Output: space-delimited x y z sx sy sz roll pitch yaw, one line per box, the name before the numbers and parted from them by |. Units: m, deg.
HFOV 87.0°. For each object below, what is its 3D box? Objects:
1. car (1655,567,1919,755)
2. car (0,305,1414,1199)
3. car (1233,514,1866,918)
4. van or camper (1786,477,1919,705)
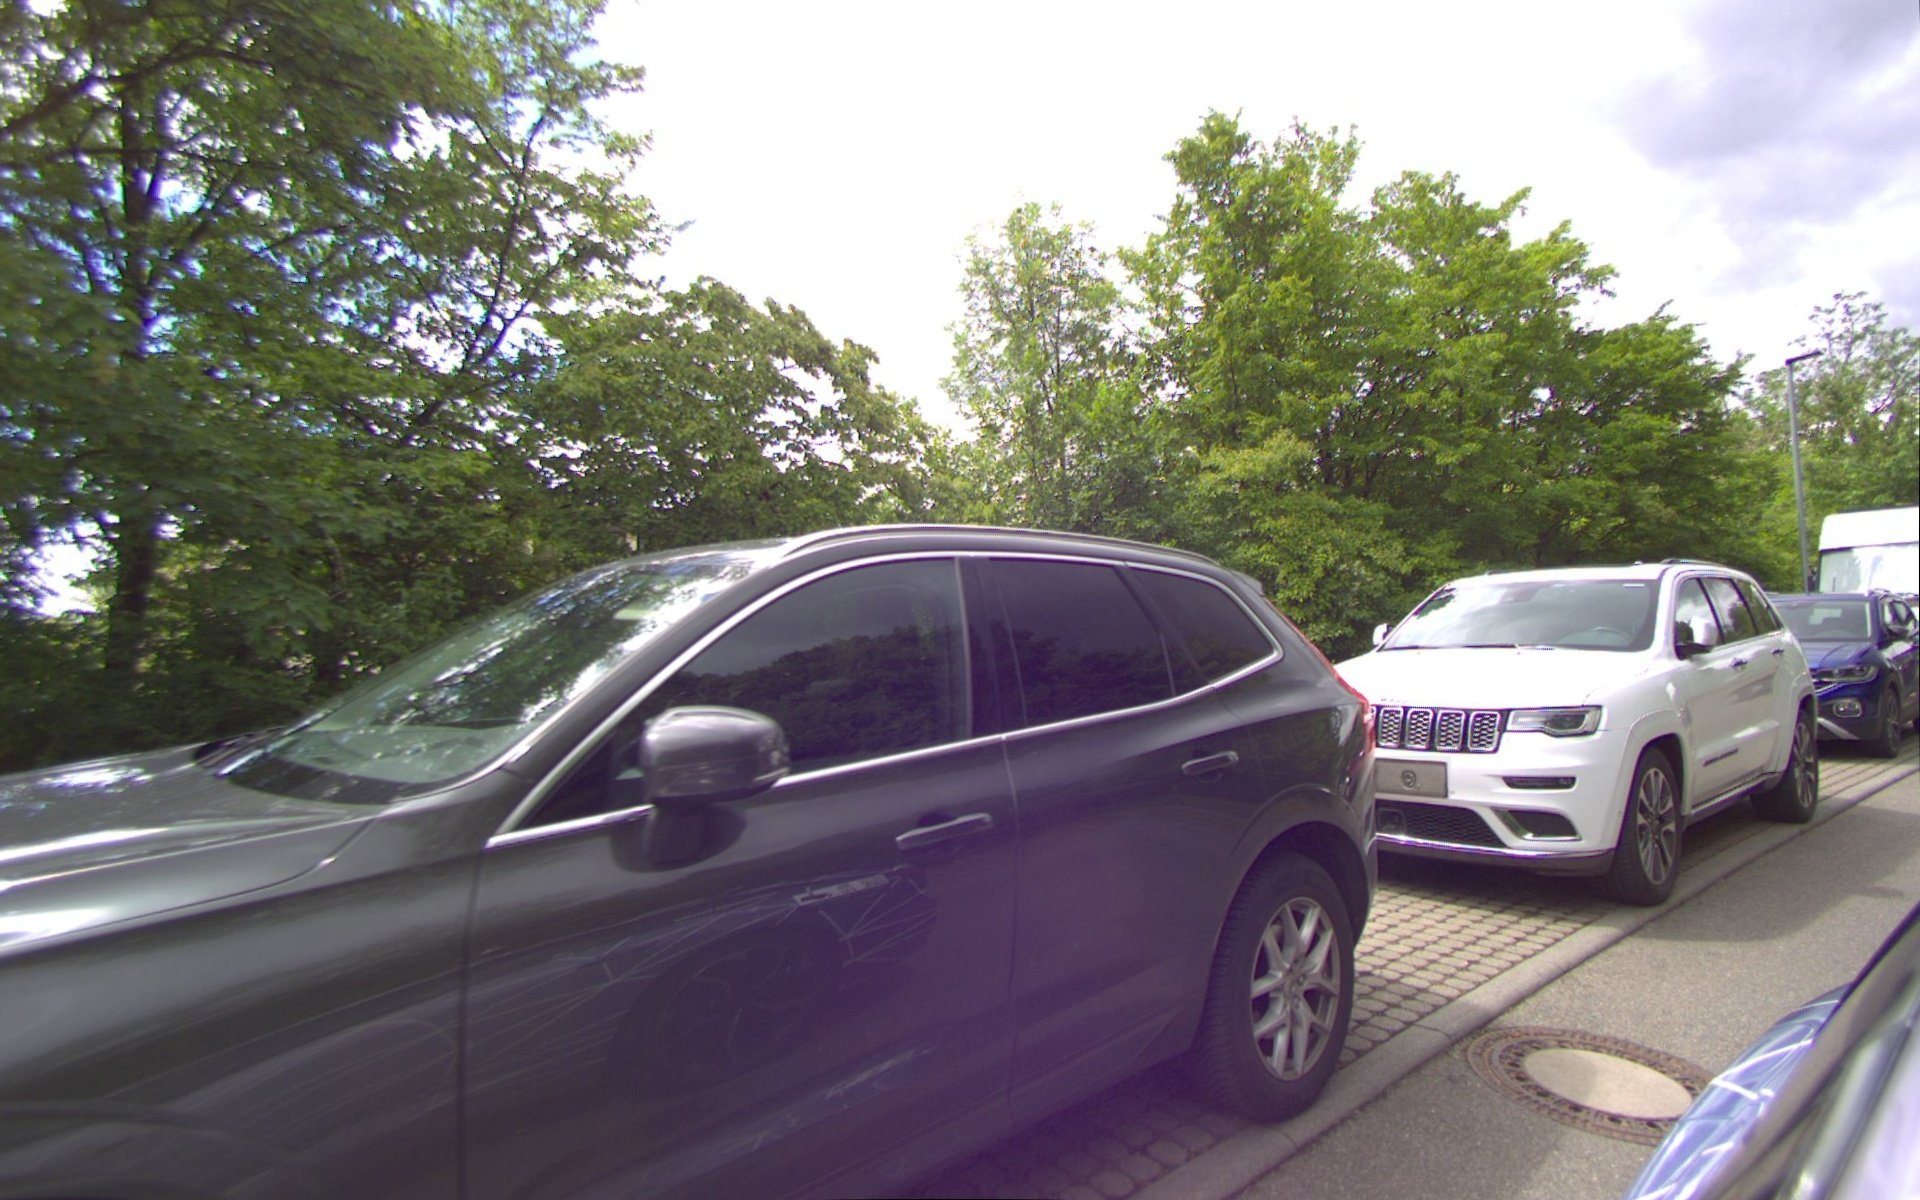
car | 9.022 0.569 10.559 3.927 1.612 1.714 0 -4 -38
car | -0.758 0.520 2.623 4.203 1.647 1.996 1 -1 -41
car | 3.943 0.535 6.445 4.495 1.711 1.875 0 -3 -38
van or camper | 14.677 -0.162 14.681 6.032 2.906 2.340 -1 -3 -34
